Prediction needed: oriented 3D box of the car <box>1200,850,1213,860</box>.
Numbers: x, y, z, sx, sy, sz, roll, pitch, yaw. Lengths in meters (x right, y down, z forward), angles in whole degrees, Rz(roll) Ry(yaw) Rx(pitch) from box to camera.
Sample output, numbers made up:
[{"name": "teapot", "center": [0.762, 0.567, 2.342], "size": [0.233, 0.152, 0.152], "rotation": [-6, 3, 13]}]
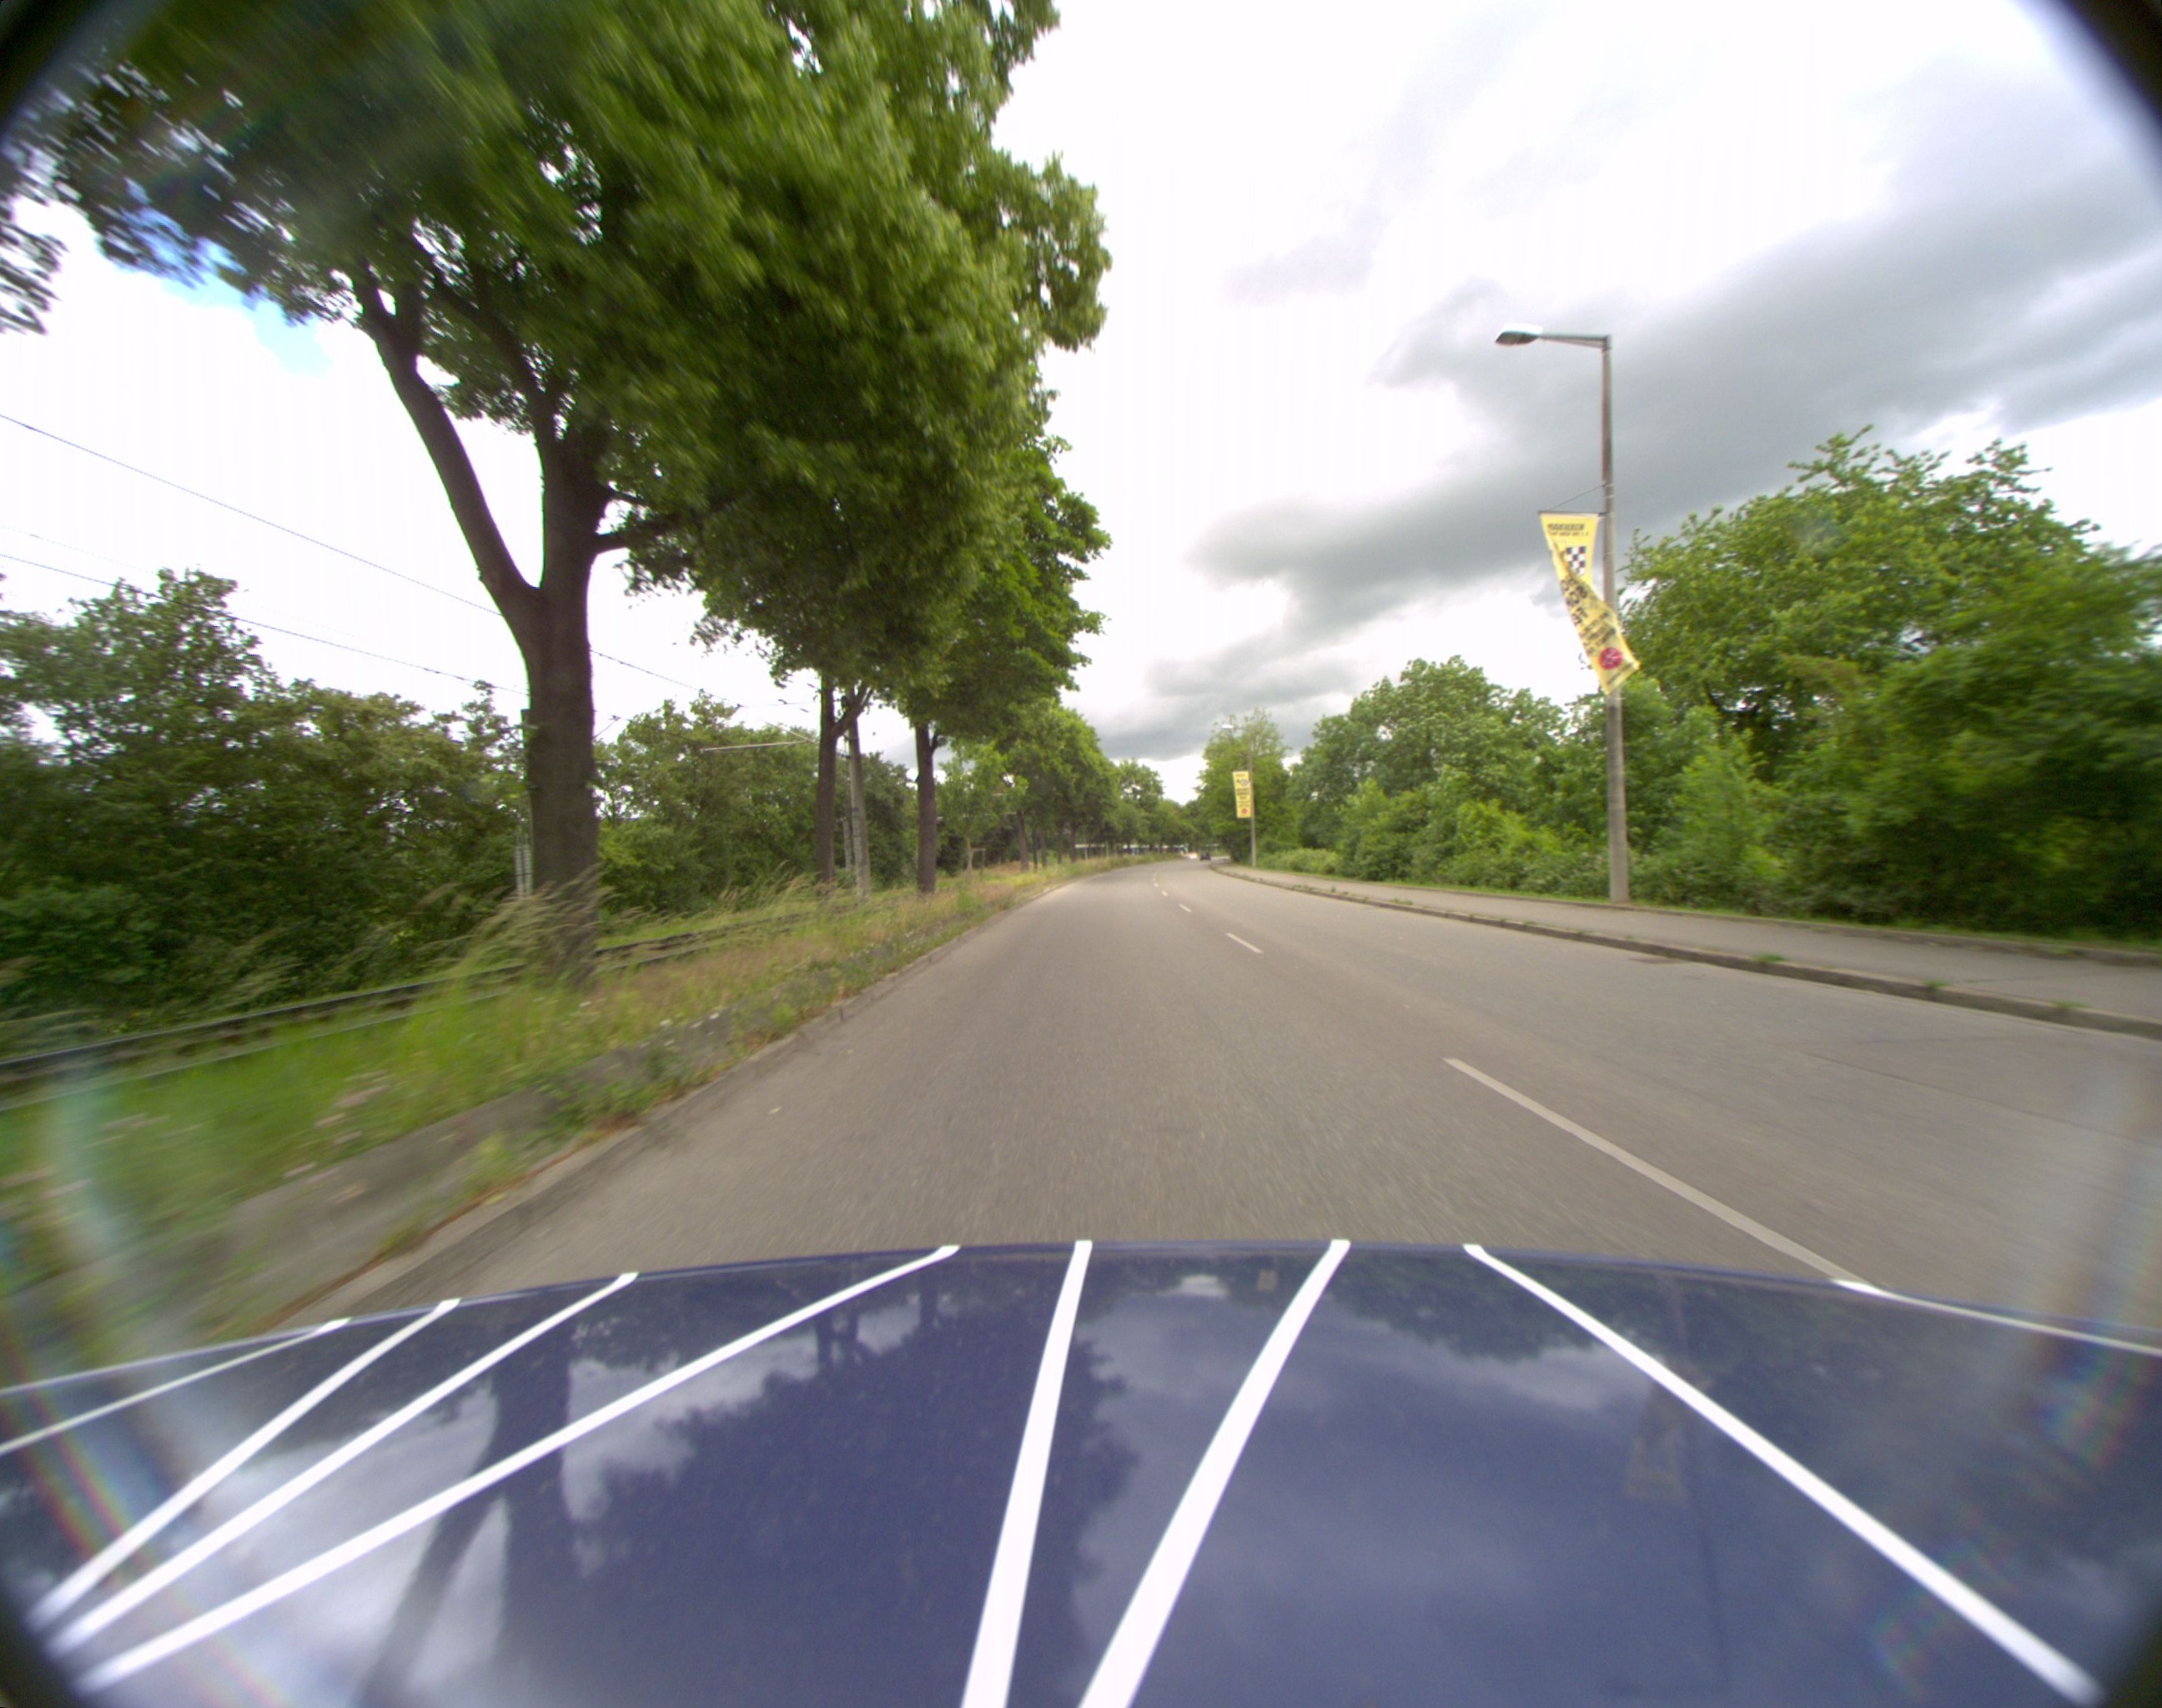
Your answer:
[{"name": "car", "center": [21.722, 0.153, 131.362], "size": [1.797, 1.401, 4.003], "rotation": [-4, 0, 12]}]
